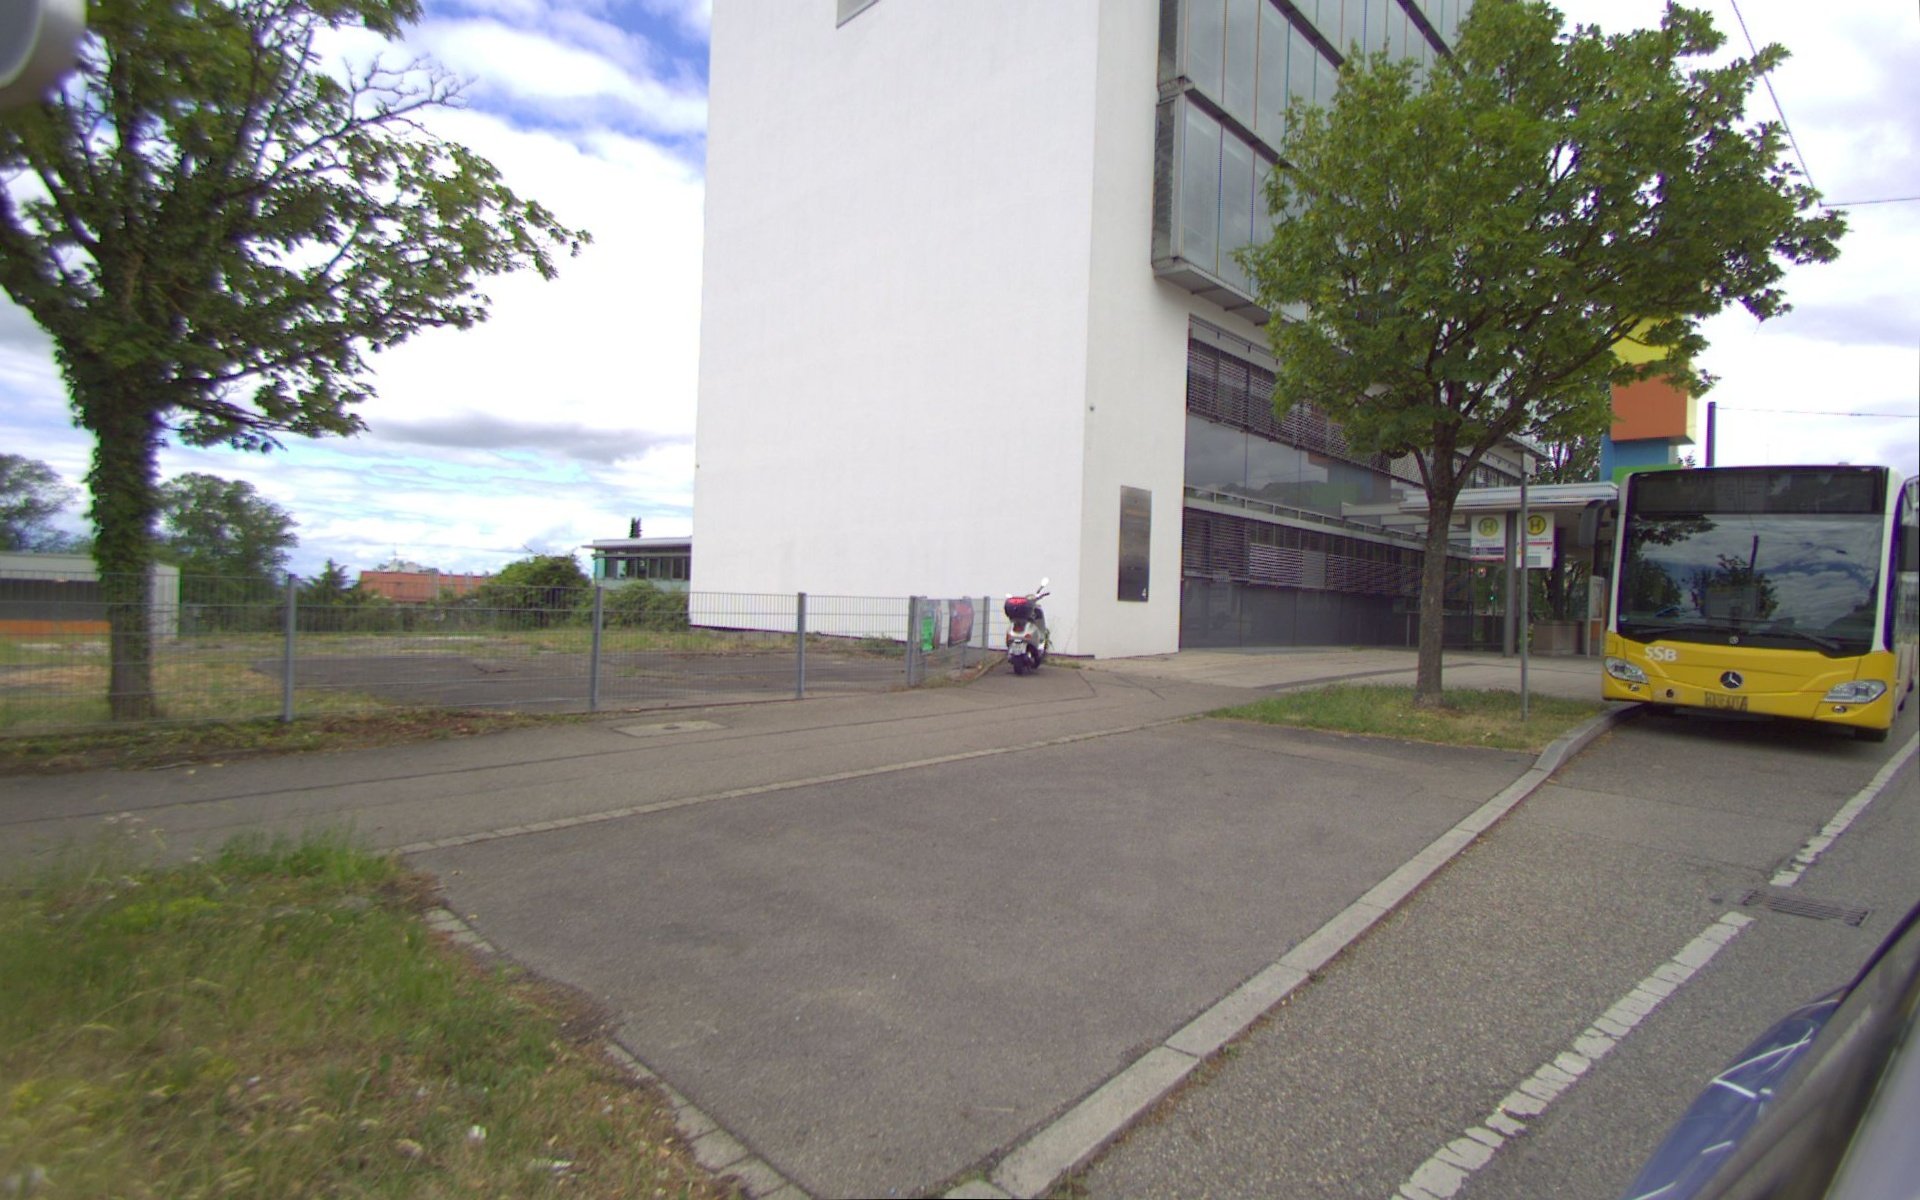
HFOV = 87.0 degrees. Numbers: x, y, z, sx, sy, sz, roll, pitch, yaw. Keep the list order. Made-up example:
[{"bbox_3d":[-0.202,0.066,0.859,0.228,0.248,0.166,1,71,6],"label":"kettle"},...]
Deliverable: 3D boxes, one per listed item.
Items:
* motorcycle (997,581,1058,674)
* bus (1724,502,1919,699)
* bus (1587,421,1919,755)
[{"bbox_3d":[0.975,0.355,14.315,0.575,1.237,1.575,1,1,14],"label":"motorcycle"},{"bbox_3d":[17.575,0.027,20.113,2.713,3.148,8.727,2,1,44],"label":"bus"},{"bbox_3d":[11.401,-0.127,13.820,8.978,3.203,2.715,1,2,-45],"label":"bus"}]
